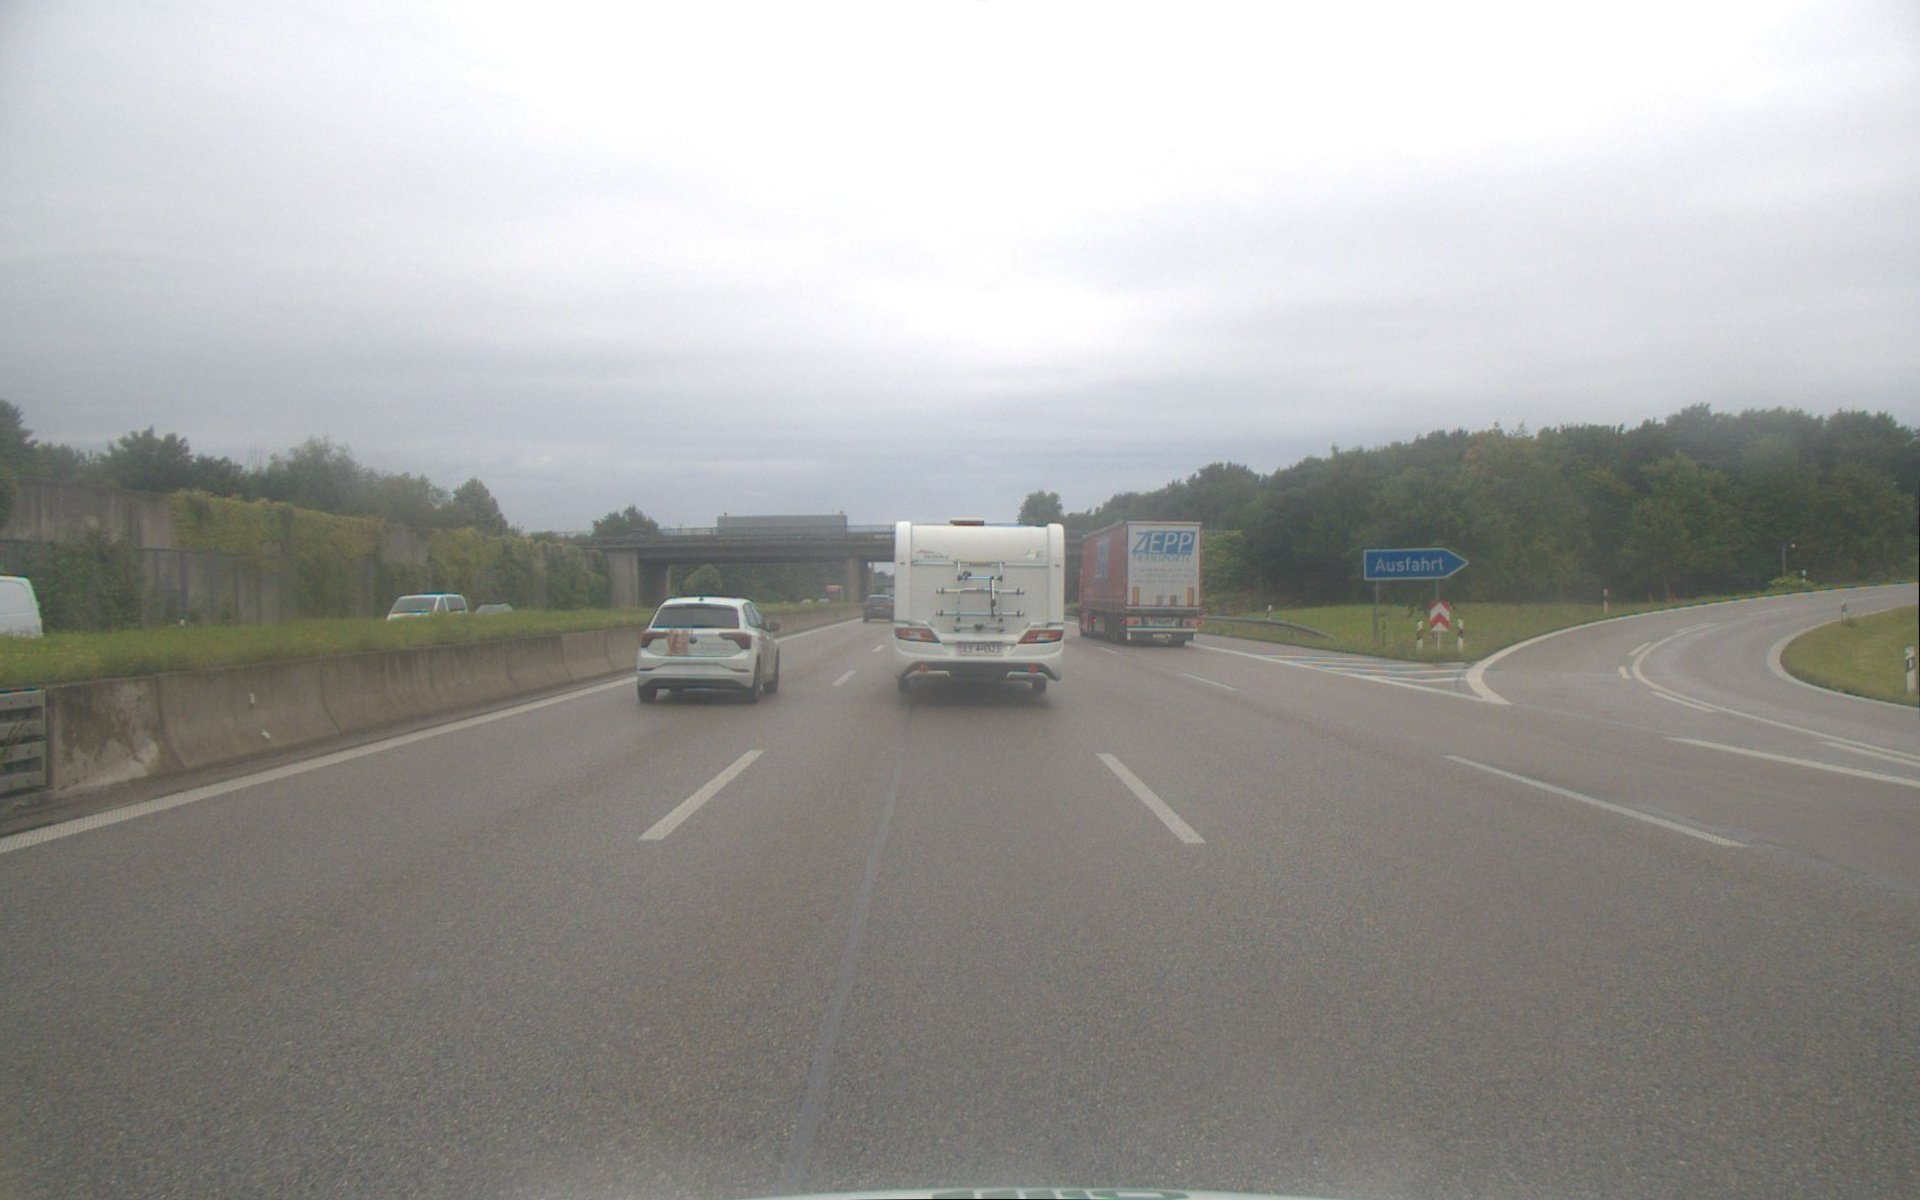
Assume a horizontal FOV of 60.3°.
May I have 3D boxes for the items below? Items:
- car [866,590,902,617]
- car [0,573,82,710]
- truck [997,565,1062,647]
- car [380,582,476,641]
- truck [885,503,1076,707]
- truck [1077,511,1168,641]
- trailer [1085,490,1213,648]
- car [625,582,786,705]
[{"bbox_3d":[-4.679,0.209,102.128,1.953,1.628,5.123,1,0,0],"label":"car"},{"bbox_3d":[-15.338,0.623,24.474,2.038,2.049,5.193,0,0,-2],"label":"car"},{"bbox_3d":[2.483,0.231,60.435,2.011,2.818,5.547,1,0,-1],"label":"truck"},{"bbox_3d":[-19.493,0.429,60.823,1.953,2.049,5.225,1,0,-2],"label":"car"},{"bbox_3d":[0.234,0.084,25.427,2.607,2.790,5.076,1,0,-1],"label":"truck"},{"bbox_3d":[6.415,-0.897,66.198,2.986,4.924,5.849,1,0,0],"label":"truck"},{"bbox_3d":[6.485,-0.969,58.761,3.037,5.008,11.788,1,0,-1],"label":"trailer"},{"bbox_3d":[-3.645,0.576,24.443,1.717,1.646,4.663,0,0,-1],"label":"car"}]
